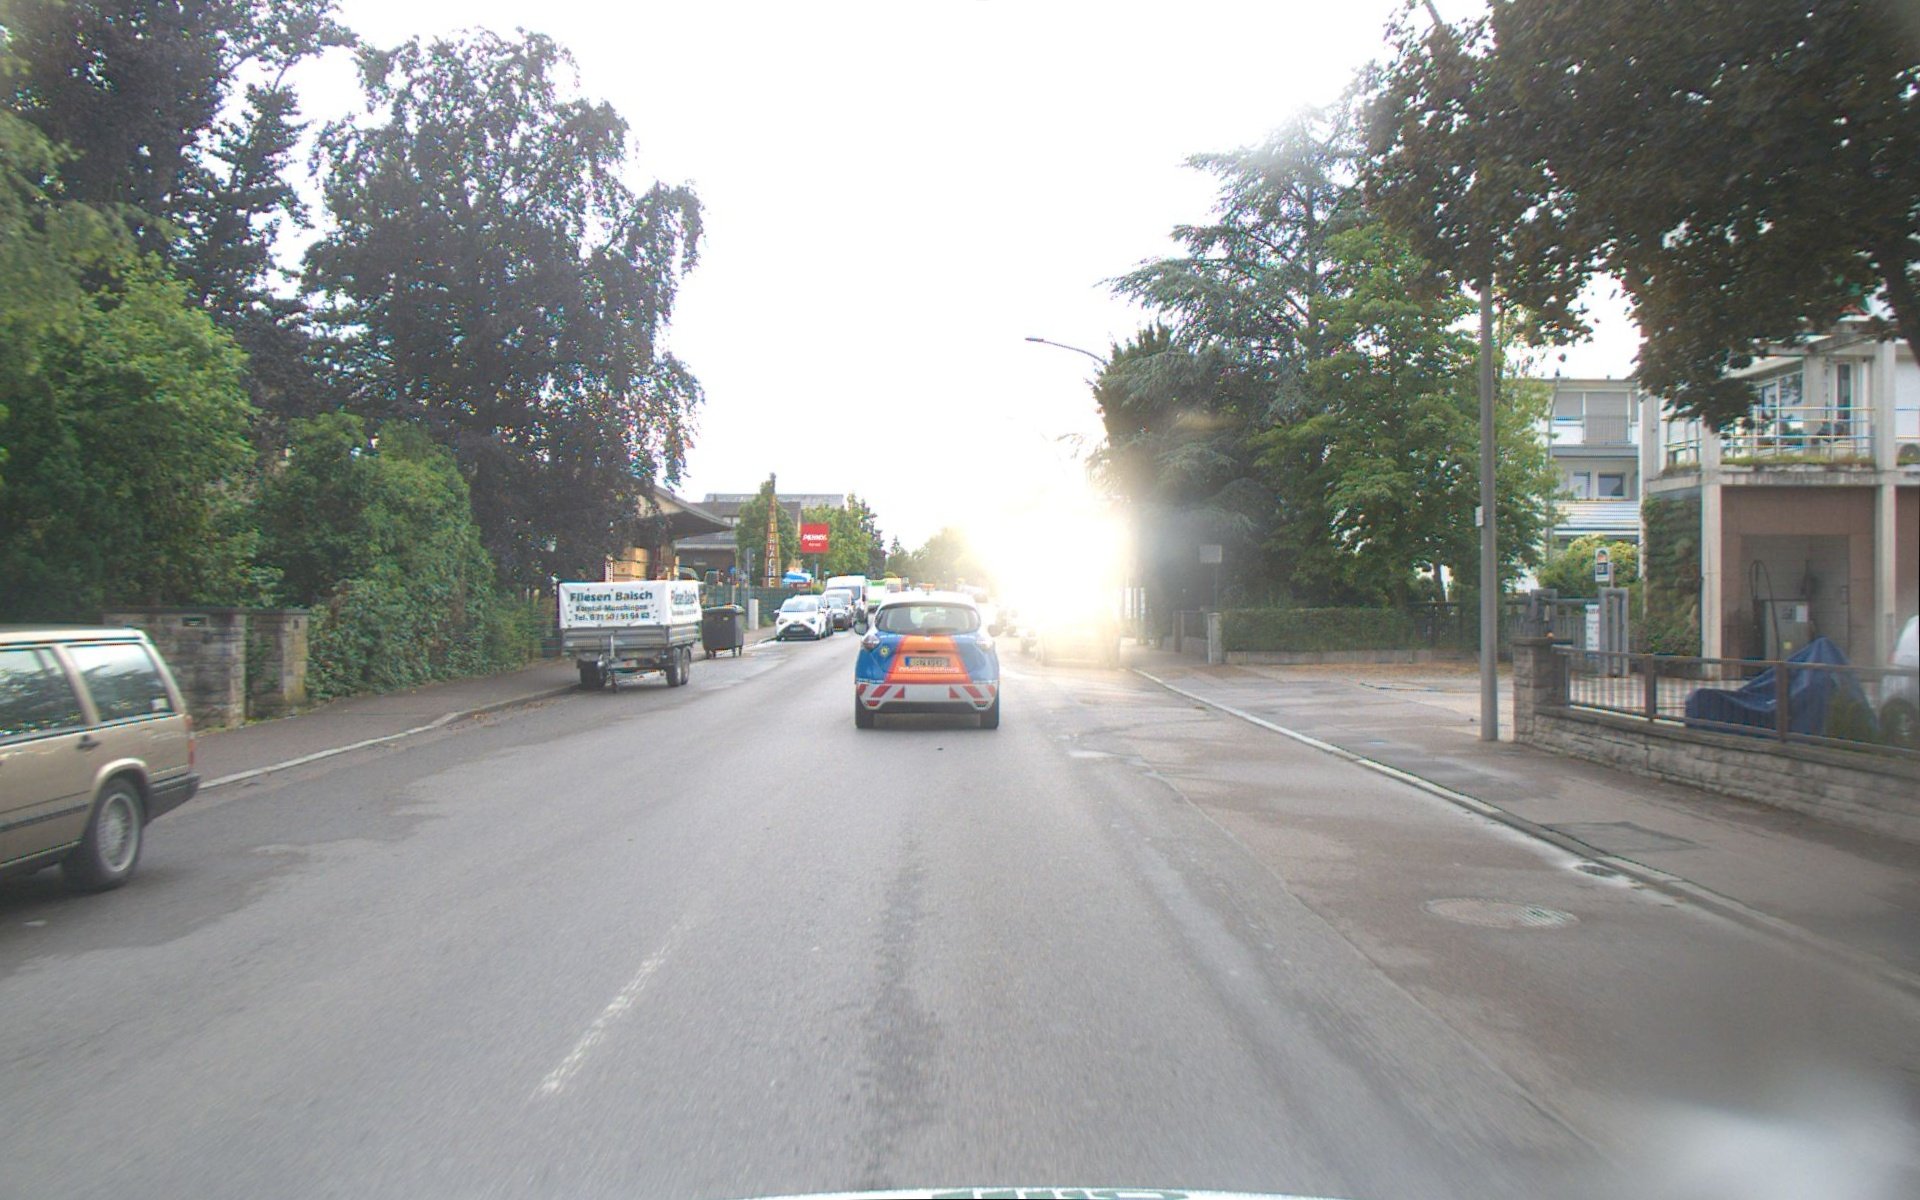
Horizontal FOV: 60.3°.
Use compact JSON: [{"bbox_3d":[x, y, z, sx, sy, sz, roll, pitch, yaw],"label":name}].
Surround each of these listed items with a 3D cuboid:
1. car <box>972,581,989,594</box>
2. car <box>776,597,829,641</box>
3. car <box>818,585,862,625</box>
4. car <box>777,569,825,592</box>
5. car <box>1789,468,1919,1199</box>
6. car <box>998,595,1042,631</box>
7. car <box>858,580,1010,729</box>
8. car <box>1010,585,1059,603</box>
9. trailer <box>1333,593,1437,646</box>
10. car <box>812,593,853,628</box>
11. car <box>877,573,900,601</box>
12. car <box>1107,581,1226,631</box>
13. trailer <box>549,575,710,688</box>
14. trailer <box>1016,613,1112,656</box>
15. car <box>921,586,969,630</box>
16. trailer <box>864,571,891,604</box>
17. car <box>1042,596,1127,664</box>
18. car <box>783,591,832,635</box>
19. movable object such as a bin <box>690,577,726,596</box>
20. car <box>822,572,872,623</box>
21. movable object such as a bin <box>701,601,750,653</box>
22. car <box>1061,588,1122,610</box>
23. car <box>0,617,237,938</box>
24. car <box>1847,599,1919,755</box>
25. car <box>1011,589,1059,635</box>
[{"bbox_3d":[2.201,-1.330,176.231,1.557,1.364,4.091,1,0,-2],"label":"car"},{"bbox_3d":[-5.720,0.668,60.376,1.583,1.535,3.660,-1,0,0],"label":"car"},{"bbox_3d":[-5.849,0.219,80.800,1.733,1.799,4.446,-3,0,0],"label":"car"},{"bbox_3d":[-14.905,-1.795,154.923,4.218,2.049,2.062,1,0,-1],"label":"car"},{"bbox_3d":[3.192,0.641,1.899,1.696,1.860,5.553,2,0,1],"label":"car"},{"bbox_3d":[2.637,0.544,73.034,1.703,1.492,4.545,1,0,-1],"label":"car"},{"bbox_3d":[-0.329,0.611,20.269,1.696,1.659,3.494,0,0,-1],"label":"car"},{"bbox_3d":[6.570,-0.554,146.043,4.250,1.501,1.902,1,0,-2],"label":"car"},{"bbox_3d":[12.878,0.564,50.428,1.733,1.546,4.802,0,0,-3],"label":"trailer"},{"bbox_3d":[-5.709,0.450,74.361,1.628,1.474,4.316,-1,0,-2],"label":"car"},{"bbox_3d":[-6.664,-1.246,154.118,2.082,2.582,6.020,0,0,-2],"label":"car"},{"bbox_3d":[8.556,0.239,68.765,4.635,1.919,2.000,1,0,-1],"label":"car"},{"bbox_3d":[-5.706,0.497,29.078,1.890,1.796,4.548,1,0,0],"label":"trailer"},{"bbox_3d":[2.748,0.900,45.233,2.129,0.913,6.635,1,1,-1],"label":"trailer"},{"bbox_3d":[-0.565,0.284,61.053,1.617,1.548,3.998,1,0,-2],"label":"car"},{"bbox_3d":[-6.169,-0.972,123.898,1.776,2.354,4.729,-2,1,-1],"label":"trailer"},{"bbox_3d":[2.852,0.651,38.723,1.704,1.458,4.649,1,0,1],"label":"car"},{"bbox_3d":[-5.972,0.493,65.130,1.627,1.612,3.915,-2,0,-1],"label":"car"},{"bbox_3d":[-24.958,-1.374,163.933,3.357,1.790,1.997,1,0,-7],"label":"movable object such as a bin"},{"bbox_3d":[-5.849,-0.162,86.592,2.114,2.469,6.459,-3,0,0],"label":"car"},{"bbox_3d":[-6.176,0.705,43.604,1.078,1.333,1.425,1,0,-1],"label":"movable object such as a bin"},{"bbox_3d":[8.710,-0.069,109.657,3.907,1.455,1.630,1,0,-2],"label":"car"},{"bbox_3d":[-5.332,0.853,7.630,1.779,1.452,4.981,-1,0,0],"label":"car"},{"bbox_3d":[10.269,0.763,15.257,1.710,1.514,4.114,0,0,-5],"label":"car"},{"bbox_3d":[2.829,0.427,63.174,1.703,1.650,4.374,1,0,1],"label":"car"}]
